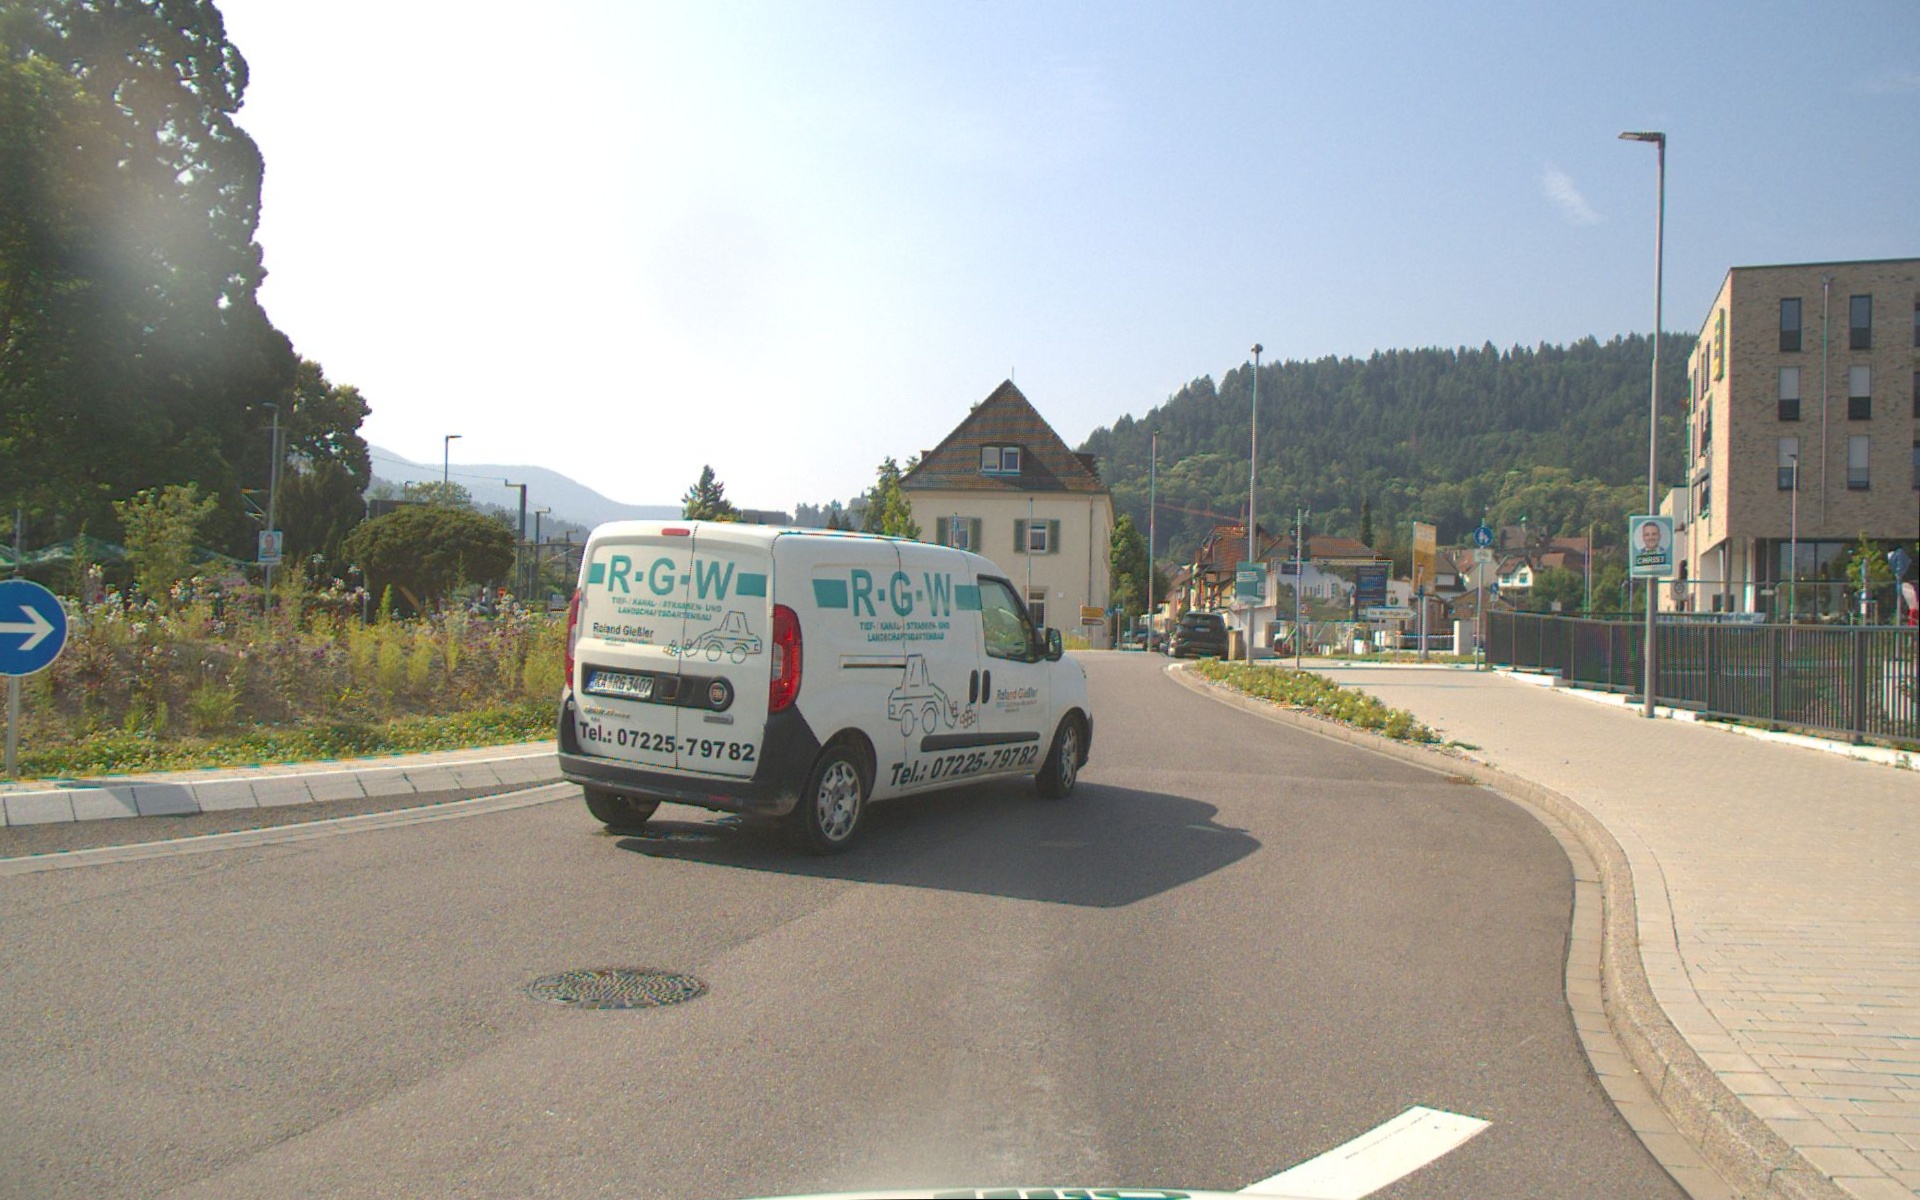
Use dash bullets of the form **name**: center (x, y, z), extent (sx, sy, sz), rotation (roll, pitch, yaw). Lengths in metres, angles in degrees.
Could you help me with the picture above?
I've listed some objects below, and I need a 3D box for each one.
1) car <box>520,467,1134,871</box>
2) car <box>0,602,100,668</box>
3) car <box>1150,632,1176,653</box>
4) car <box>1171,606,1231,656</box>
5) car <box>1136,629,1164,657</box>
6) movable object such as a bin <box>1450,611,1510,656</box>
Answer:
- **car**: center (-0.607, 0.378, 11.147), extent (1.773, 2.114, 4.595), rotation (3, 0, 30)
- **car**: center (-18.241, 0.652, 31.893), extent (1.359, 1.192, 3.245), rotation (1, -1, 5)
- **car**: center (10.197, 2.135, 82.987), extent (1.278, 1.021, 3.093), rotation (0, -2, 7)
- **car**: center (8.508, 1.110, 58.224), extent (1.841, 1.713, 4.003), rotation (0, -2, 12)
- **car**: center (13.928, 3.153, 121.138), extent (1.951, 2.049, 4.003), rotation (0, -2, 8)
- **movable object such as a bin**: center (22.311, 1.446, 71.036), extent (2.391, 1.876, 1.429), rotation (0, -2, 15)
